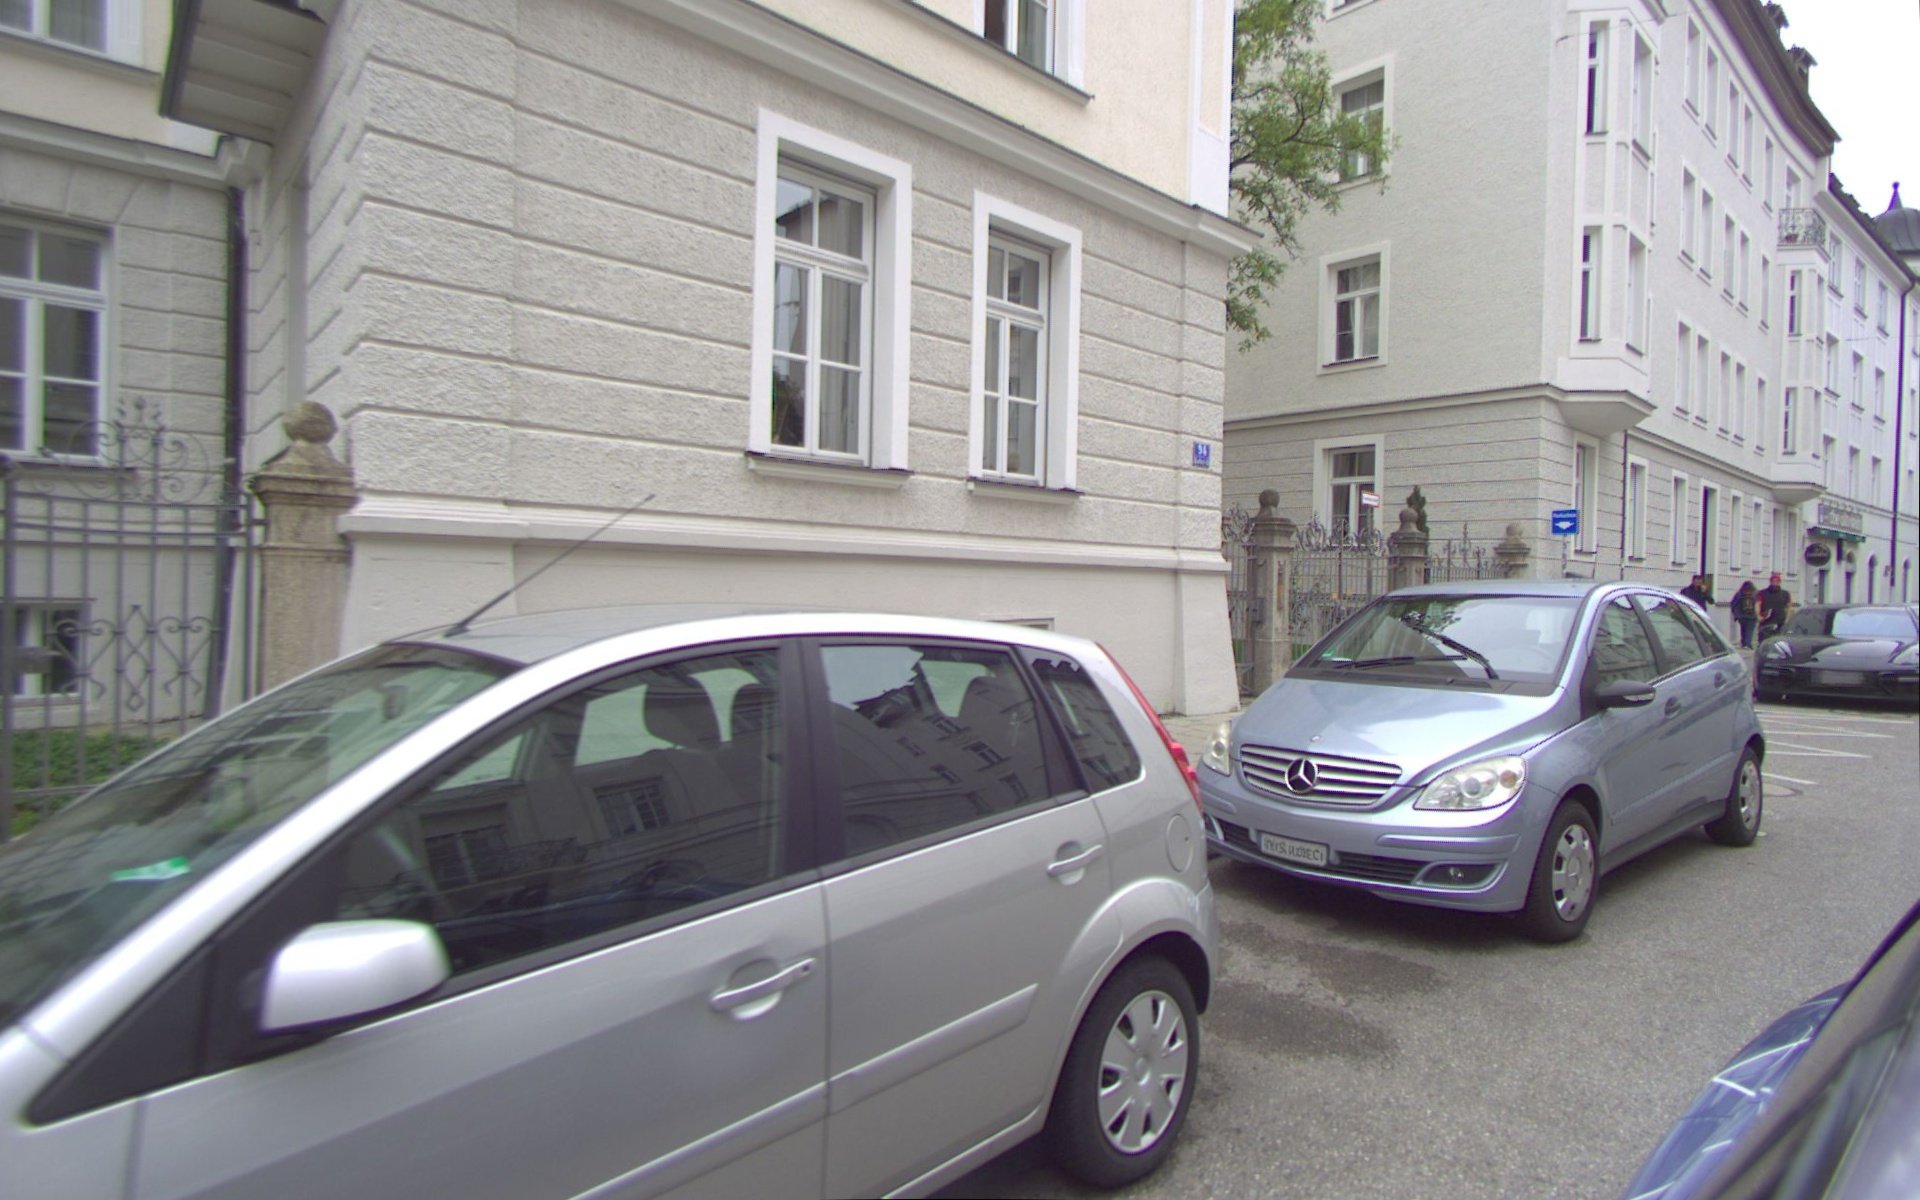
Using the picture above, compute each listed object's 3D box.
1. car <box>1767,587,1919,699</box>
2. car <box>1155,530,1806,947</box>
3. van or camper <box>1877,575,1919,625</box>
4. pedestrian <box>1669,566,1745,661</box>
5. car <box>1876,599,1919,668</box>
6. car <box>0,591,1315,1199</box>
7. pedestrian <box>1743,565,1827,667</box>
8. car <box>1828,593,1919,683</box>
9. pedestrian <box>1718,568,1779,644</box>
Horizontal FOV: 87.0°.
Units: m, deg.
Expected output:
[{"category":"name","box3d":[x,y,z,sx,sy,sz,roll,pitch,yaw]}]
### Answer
[{"category":"car","box3d":[14.095,0.565,15.389,4.629,1.476,1.997,0,1,-40]},{"category":"car","box3d":[3.270,0.551,5.959,4.321,1.589,1.825,0,-2,-39]},{"category":"van or camper","box3d":[55.711,0.065,57.065,5.850,2.749,2.268,2,-2,43]},{"category":"pedestrian","box3d":[14.883,0.242,20.166,1.091,1.808,0.885,0,3,-39]},{"category":"car","box3d":[21.520,0.693,22.211,4.892,1.417,1.837,0,-1,-45]},{"category":"car","box3d":[-0.908,0.694,2.197,3.392,1.424,1.757,0,0,-41]},{"category":"pedestrian","box3d":[15.550,0.286,19.075,1.090,1.833,0.886,1,3,-35]},{"category":"car","box3d":[17.545,0.651,18.612,4.343,1.505,1.763,0,-2,-41]},{"category":"pedestrian","box3d":[20.156,0.129,25.870,1.091,1.834,0.886,0,5,-40]}]
